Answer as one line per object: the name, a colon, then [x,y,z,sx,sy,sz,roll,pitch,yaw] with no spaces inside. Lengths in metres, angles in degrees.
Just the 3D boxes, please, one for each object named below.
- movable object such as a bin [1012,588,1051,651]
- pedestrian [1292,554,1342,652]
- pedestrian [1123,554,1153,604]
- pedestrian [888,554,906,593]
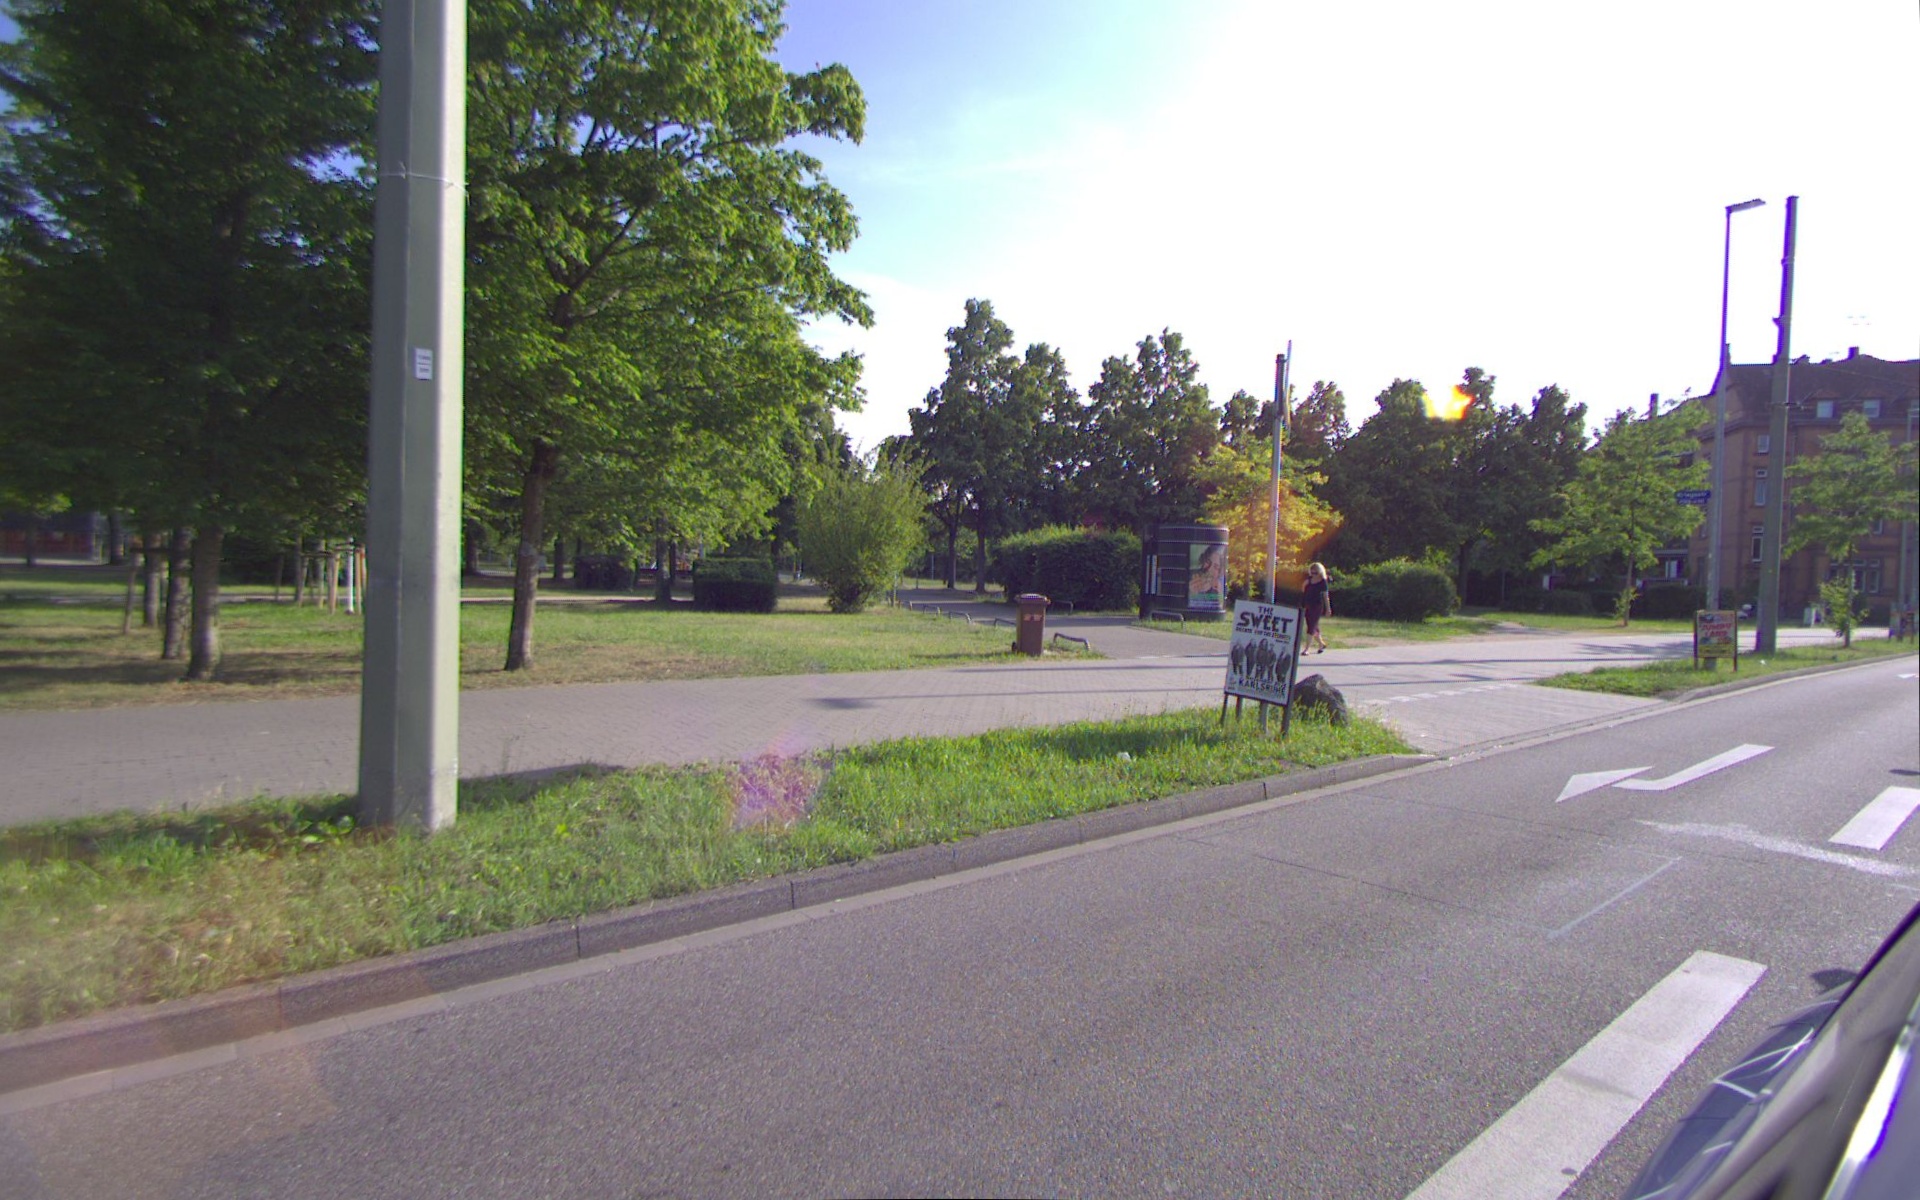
movable object such as a bin: [1.073,0.287,15.311,0.514,0.915,0.504,2,1,-2]
pedestrian: [6.441,0.044,18.274,0.651,1.722,0.558,1,2,-41]
pedestrian: [7.875,-0.920,44.861,0.872,2.184,0.914,1,1,-28]
pedestrian: [-2.772,-1.170,44.191,0.609,1.671,0.664,1,1,-16]
